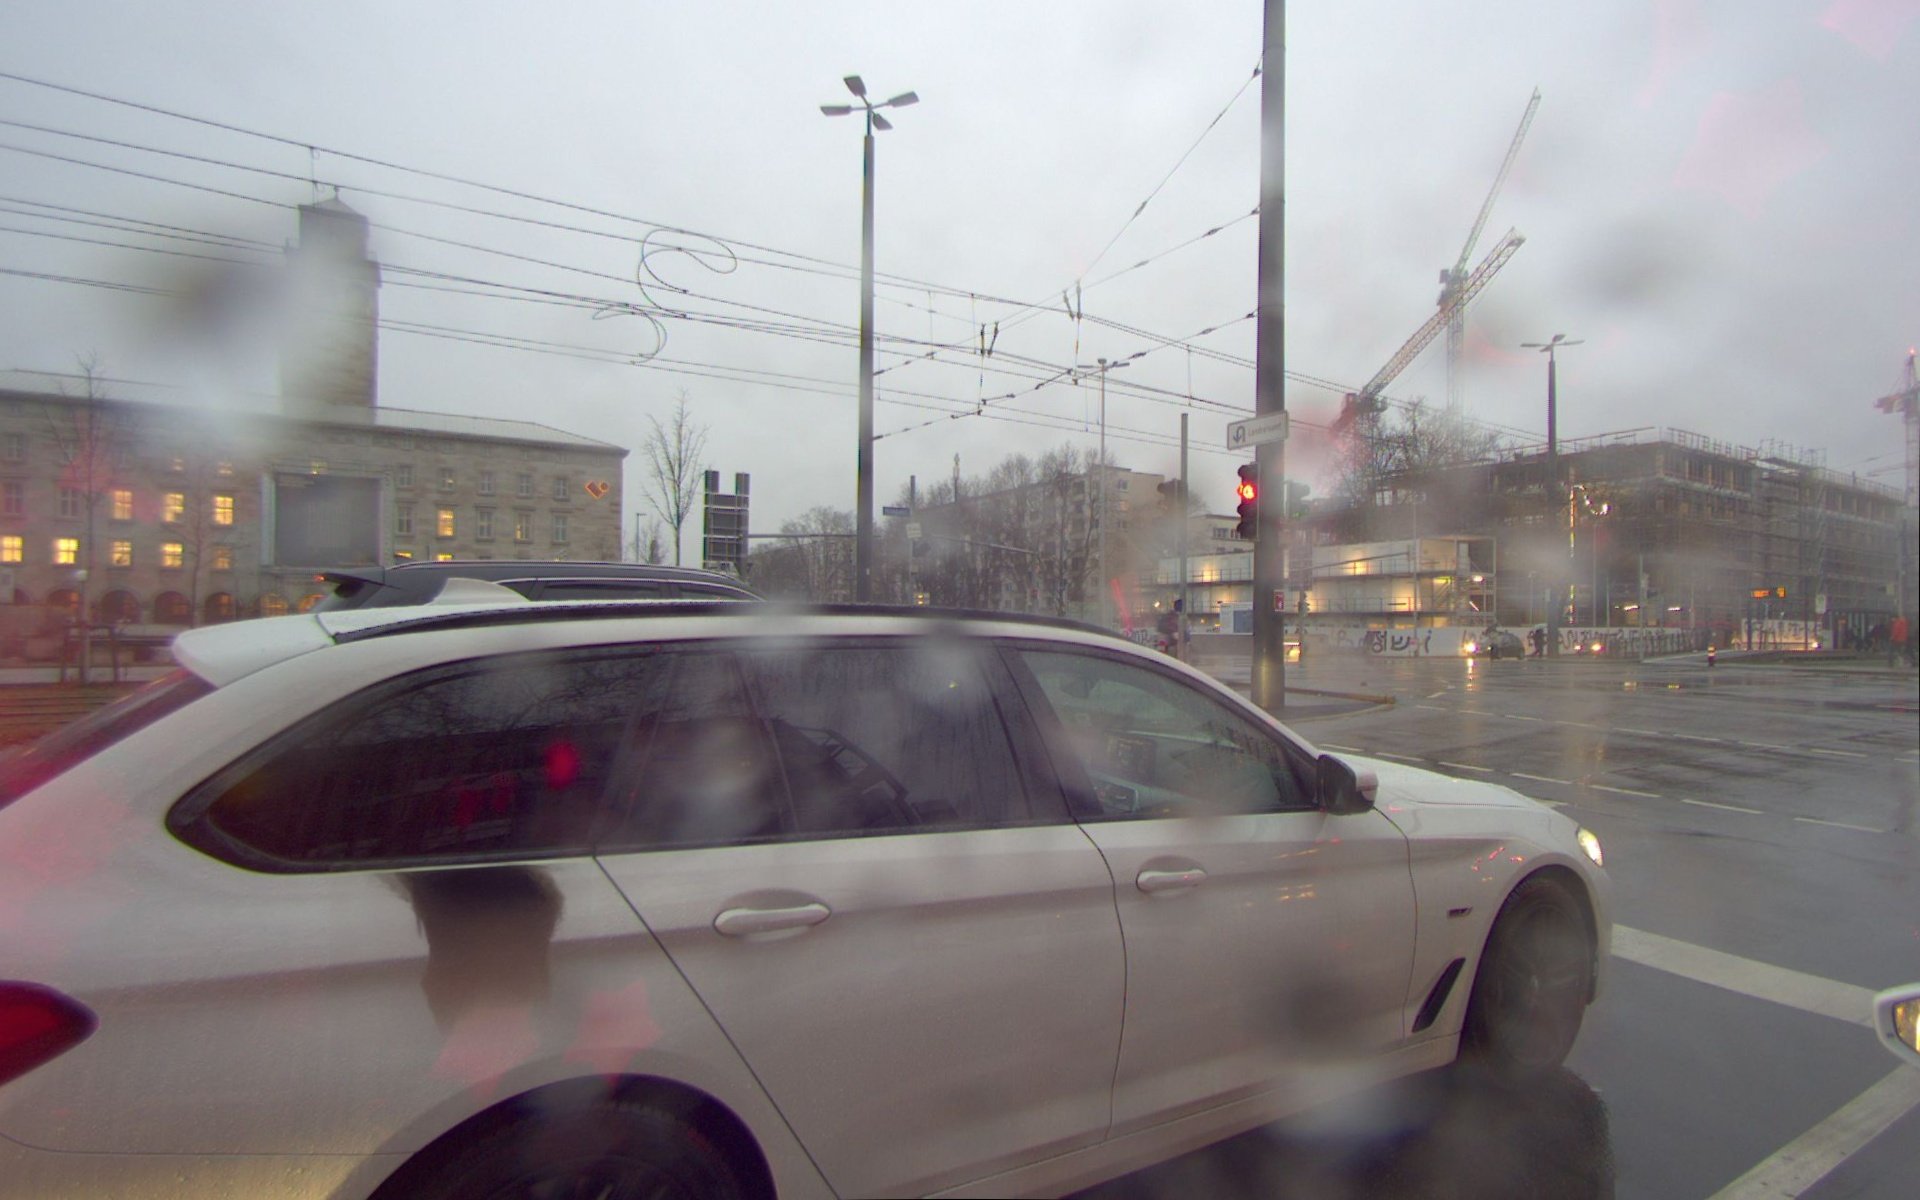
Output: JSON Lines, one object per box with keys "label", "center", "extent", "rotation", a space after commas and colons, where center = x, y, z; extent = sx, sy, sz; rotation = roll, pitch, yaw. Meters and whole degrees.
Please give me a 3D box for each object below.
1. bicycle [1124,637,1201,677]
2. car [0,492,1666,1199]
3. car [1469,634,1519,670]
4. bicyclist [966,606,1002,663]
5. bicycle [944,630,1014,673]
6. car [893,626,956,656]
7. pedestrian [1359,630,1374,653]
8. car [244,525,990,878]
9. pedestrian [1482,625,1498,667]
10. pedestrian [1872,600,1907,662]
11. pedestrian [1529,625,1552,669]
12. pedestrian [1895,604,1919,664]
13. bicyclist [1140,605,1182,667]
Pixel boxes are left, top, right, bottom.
{"label": "bicycle", "center": [5.672, 1.578, 28.300], "extent": [0.612, 1.046, 2.356], "rotation": [2, -2, -36]}
{"label": "car", "center": [-0.114, 0.700, 3.005], "extent": [4.868, 1.540, 1.900], "rotation": [2, -2, -32]}
{"label": "car", "center": [31.357, 3.008, 58.963], "extent": [1.736, 2.040, 3.980], "rotation": [-1, -2, 41]}
{"label": "bicyclist", "center": [0.799, 1.151, 33.416], "extent": [0.715, 1.863, 0.986], "rotation": [2, -2, -39]}
{"label": "bicycle", "center": [0.599, 1.719, 33.657], "extent": [0.714, 1.380, 2.809], "rotation": [2, -3, -38]}
{"label": "car", "center": [-2.130, 2.413, 59.336], "extent": [1.978, 1.706, 3.965], "rotation": [1, -2, -33]}
{"label": "pedestrian", "center": [27.003, 2.765, 66.774], "extent": [0.780, 1.549, 0.647], "rotation": [0, -2, 5]}
{"label": "car", "center": [-2.130, 0.577, 7.016], "extent": [4.564, 1.766, 1.692], "rotation": [2, -2, -34]}
{"label": "pedestrian", "center": [26.028, 2.252, 49.314], "extent": [0.635, 2.040, 0.503], "rotation": [3, -3, -40]}
{"label": "pedestrian", "center": [31.921, 1.059, 34.491], "extent": [0.674, 2.115, 0.613], "rotation": [0, -1, 20]}
{"label": "pedestrian", "center": [27.661, 2.237, 47.870], "extent": [0.741, 2.040, 0.785], "rotation": [2, -2, -40]}
{"label": "pedestrian", "center": [32.752, 1.158, 34.485], "extent": [0.762, 2.040, 0.613], "rotation": [0, -1, 22]}
{"label": "bicyclist", "center": [5.667, 1.019, 28.338], "extent": [0.612, 1.719, 1.026], "rotation": [2, -2, -36]}
